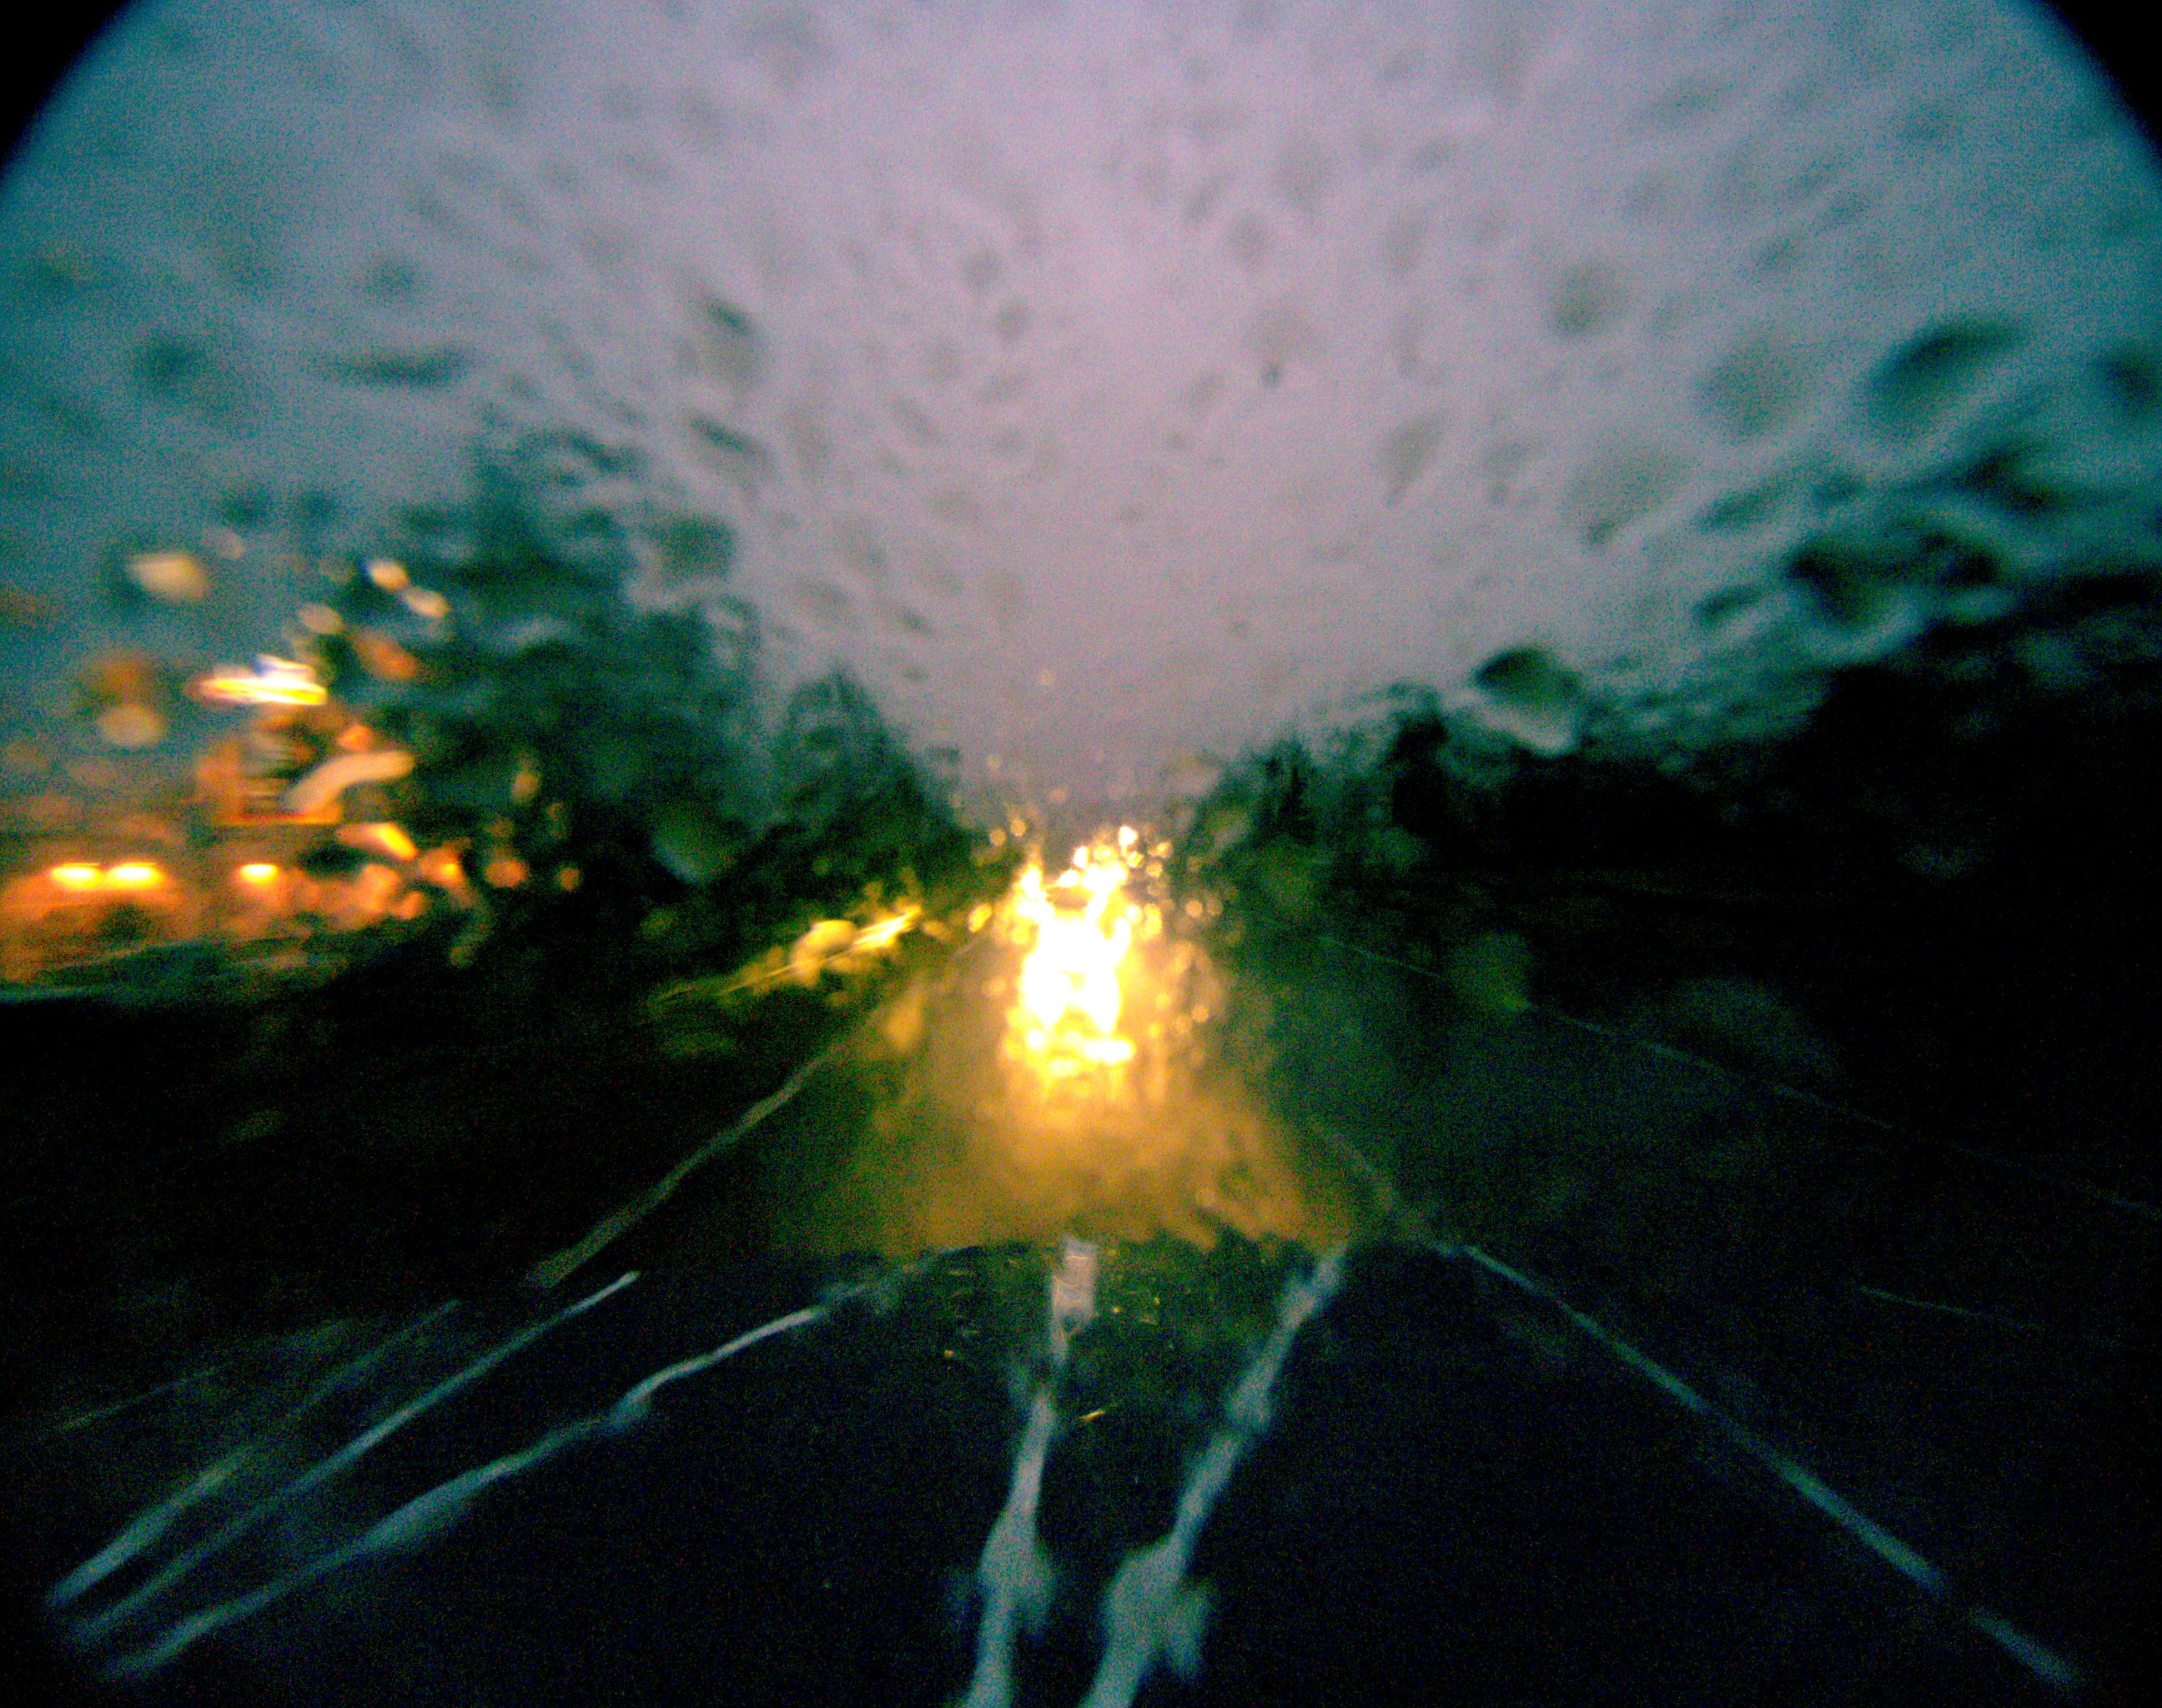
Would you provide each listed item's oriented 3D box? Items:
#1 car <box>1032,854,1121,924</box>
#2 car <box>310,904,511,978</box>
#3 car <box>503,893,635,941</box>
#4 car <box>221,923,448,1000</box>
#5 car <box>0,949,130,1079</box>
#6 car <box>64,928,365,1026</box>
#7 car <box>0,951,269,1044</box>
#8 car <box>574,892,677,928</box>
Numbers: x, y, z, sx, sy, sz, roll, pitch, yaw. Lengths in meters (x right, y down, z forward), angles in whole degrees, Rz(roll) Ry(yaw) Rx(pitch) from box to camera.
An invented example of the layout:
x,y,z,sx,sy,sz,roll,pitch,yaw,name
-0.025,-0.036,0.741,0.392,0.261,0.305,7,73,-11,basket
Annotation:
x,y,z,sx,sy,sz,roll,pitch,yaw,name
-0.017,0.863,21.217,2.102,1.566,4.799,-4,1,2,car
-21.056,2.698,24.099,4.263,1.843,1.998,-3,0,-15,car
-23.058,2.806,34.394,4.405,1.705,1.999,-4,0,-9,car
-20.299,2.877,20.876,3.877,1.469,1.998,-4,0,-15,car
-19.137,2.778,12.479,4.141,1.825,1.660,-4,2,-13,car
-20.409,2.836,18.154,4.263,1.620,1.998,-4,0,-15,car
-19.373,2.823,15.157,4.141,1.414,1.660,0,1,-10,car
-24.130,2.957,40.409,4.192,1.508,1.999,-4,-1,-11,car
